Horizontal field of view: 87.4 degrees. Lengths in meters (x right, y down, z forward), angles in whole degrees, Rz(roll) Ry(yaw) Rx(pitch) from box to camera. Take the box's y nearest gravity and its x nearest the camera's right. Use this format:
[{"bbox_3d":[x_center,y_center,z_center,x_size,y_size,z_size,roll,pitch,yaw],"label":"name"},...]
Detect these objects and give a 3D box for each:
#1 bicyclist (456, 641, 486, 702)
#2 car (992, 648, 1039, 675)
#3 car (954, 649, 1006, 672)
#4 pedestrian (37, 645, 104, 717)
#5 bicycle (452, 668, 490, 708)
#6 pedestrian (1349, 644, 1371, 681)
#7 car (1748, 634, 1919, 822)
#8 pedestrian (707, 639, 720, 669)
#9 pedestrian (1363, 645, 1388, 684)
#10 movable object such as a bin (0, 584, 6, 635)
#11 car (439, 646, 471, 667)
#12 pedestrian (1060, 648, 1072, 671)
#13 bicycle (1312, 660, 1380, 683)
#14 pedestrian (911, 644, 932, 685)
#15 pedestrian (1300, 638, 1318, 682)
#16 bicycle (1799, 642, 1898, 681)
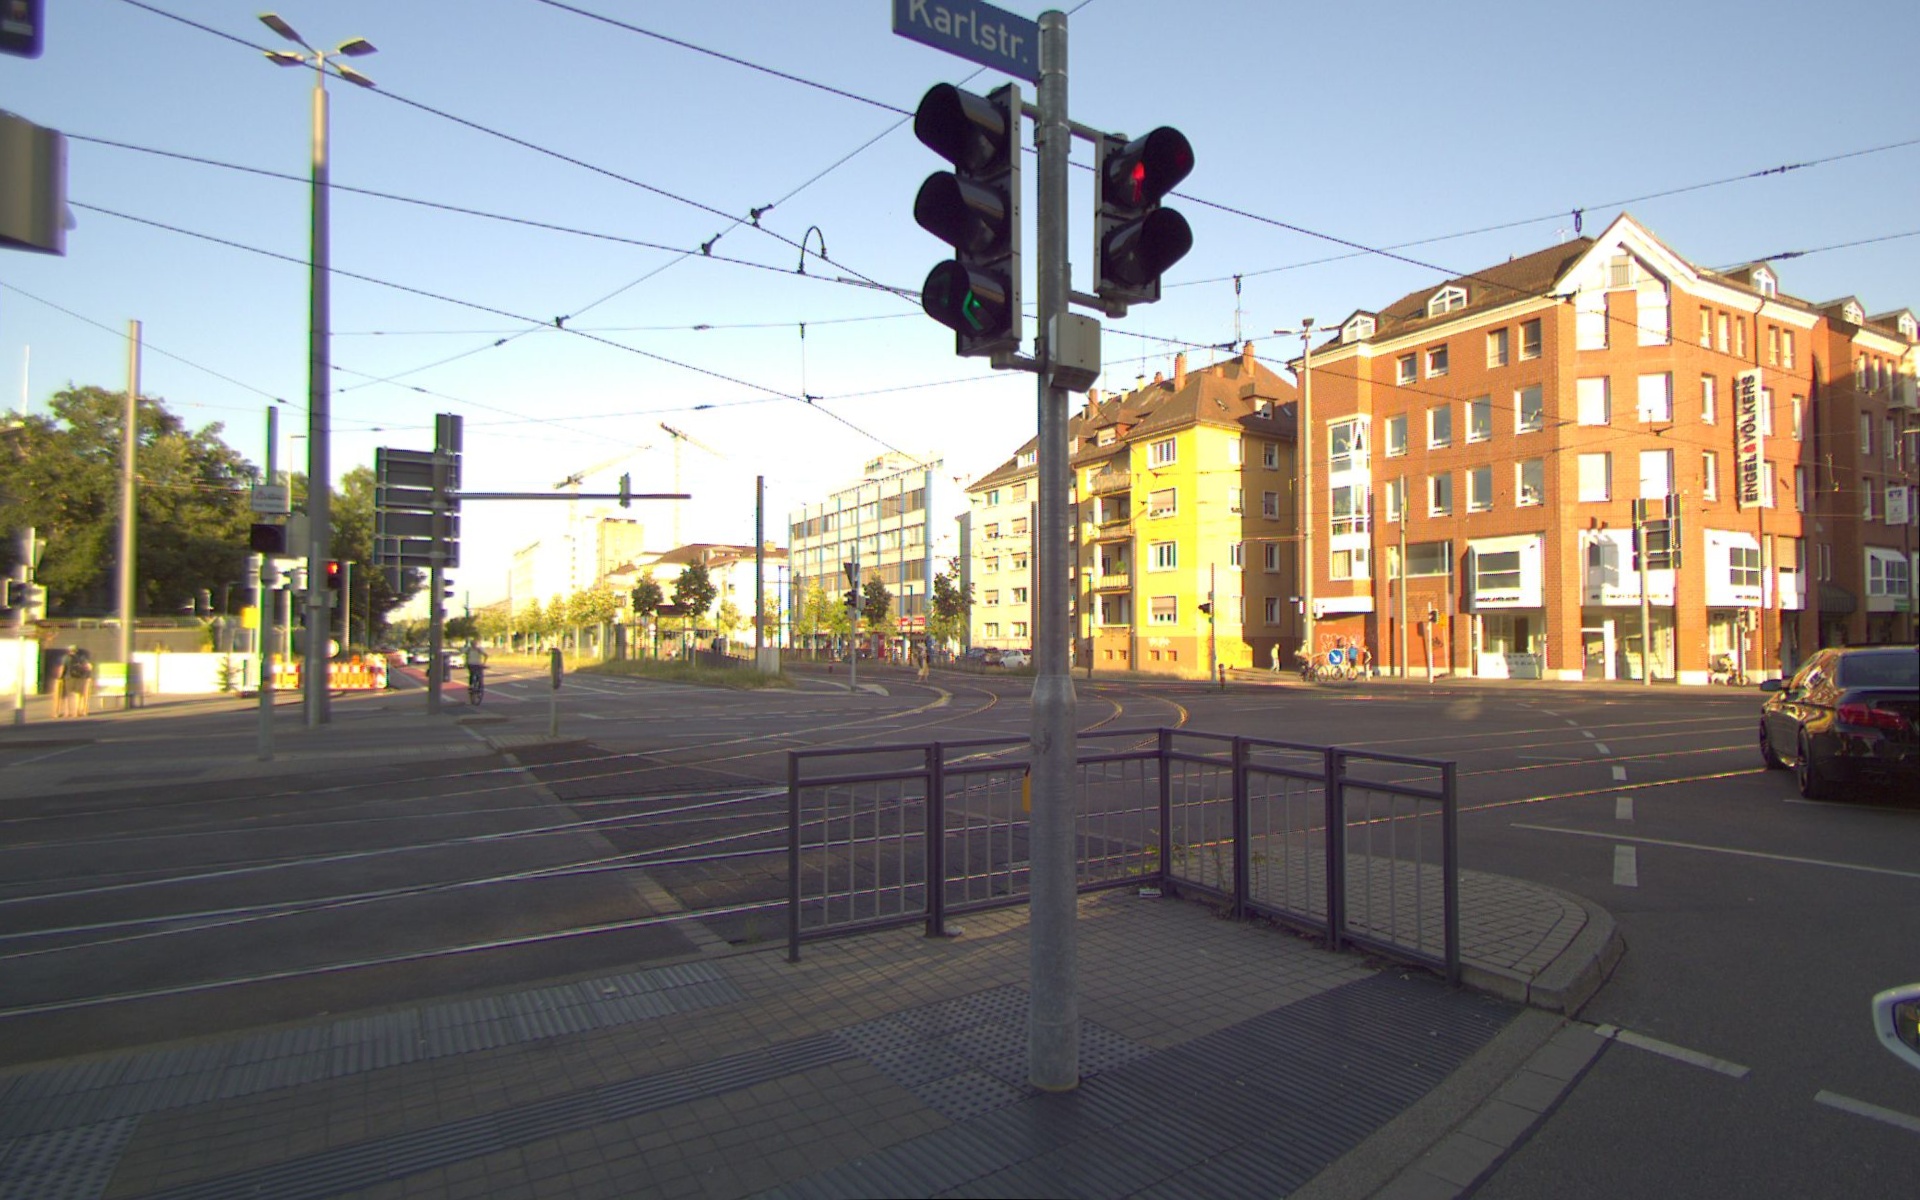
[{"bbox_3d":[-13.763,1.999,28.255,0.591,1.693,0.740,2,-3,-38],"label":"bicyclist"},{"bbox_3d":[4.070,4.508,73.978,1.720,1.439,3.511,0,5,-32],"label":"car"},{"bbox_3d":[1.526,4.712,78.343,2.096,1.727,4.312,3,-3,-32],"label":"car"},{"bbox_3d":[-22.514,2.032,25.432,0.805,1.758,0.944,-1,-2,18],"label":"pedestrian"},{"bbox_3d":[-13.751,2.451,28.228,0.591,1.036,1.827,2,-3,-38],"label":"bicycle"},{"bbox_3d":[19.399,3.026,48.731,0.808,1.801,0.632,2,-3,-37],"label":"pedestrian"},{"bbox_3d":[9.385,1.140,10.144,1.816,1.514,4.280,-3,-3,33],"label":"car"},{"bbox_3d":[-13.443,2.950,54.799,0.558,1.611,0.685,1,-2,-28],"label":"pedestrian"},{"bbox_3d":[19.904,3.090,48.175,0.704,1.817,0.863,2,-3,-39],"label":"pedestrian"},{"bbox_3d":[-40.959,0.338,39.468,4.925,2.040,2.000,0,-2,0],"label":"movable object such as a bin"},{"bbox_3d":[-37.449,4.183,74.537,1.890,1.424,4.280,0,-3,-24],"label":"car"},{"bbox_3d":[7.542,4.199,71.175,0.697,1.619,0.735,-1,-3,18],"label":"pedestrian"},{"bbox_3d":[18.558,3.451,48.417,0.923,1.030,3.033,2,-3,-36],"label":"bicycle"},{"bbox_3d":[-1.495,2.457,38.575,0.695,1.561,0.635,0,-2,-14],"label":"pedestrian"},{"bbox_3d":[13.849,2.368,39.842,0.414,1.730,0.511,1,-3,-30],"label":"pedestrian"},{"bbox_3d":[41.264,2.836,46.723,1.055,1.748,3.286,1,-3,-27],"label":"bicycle"}]
